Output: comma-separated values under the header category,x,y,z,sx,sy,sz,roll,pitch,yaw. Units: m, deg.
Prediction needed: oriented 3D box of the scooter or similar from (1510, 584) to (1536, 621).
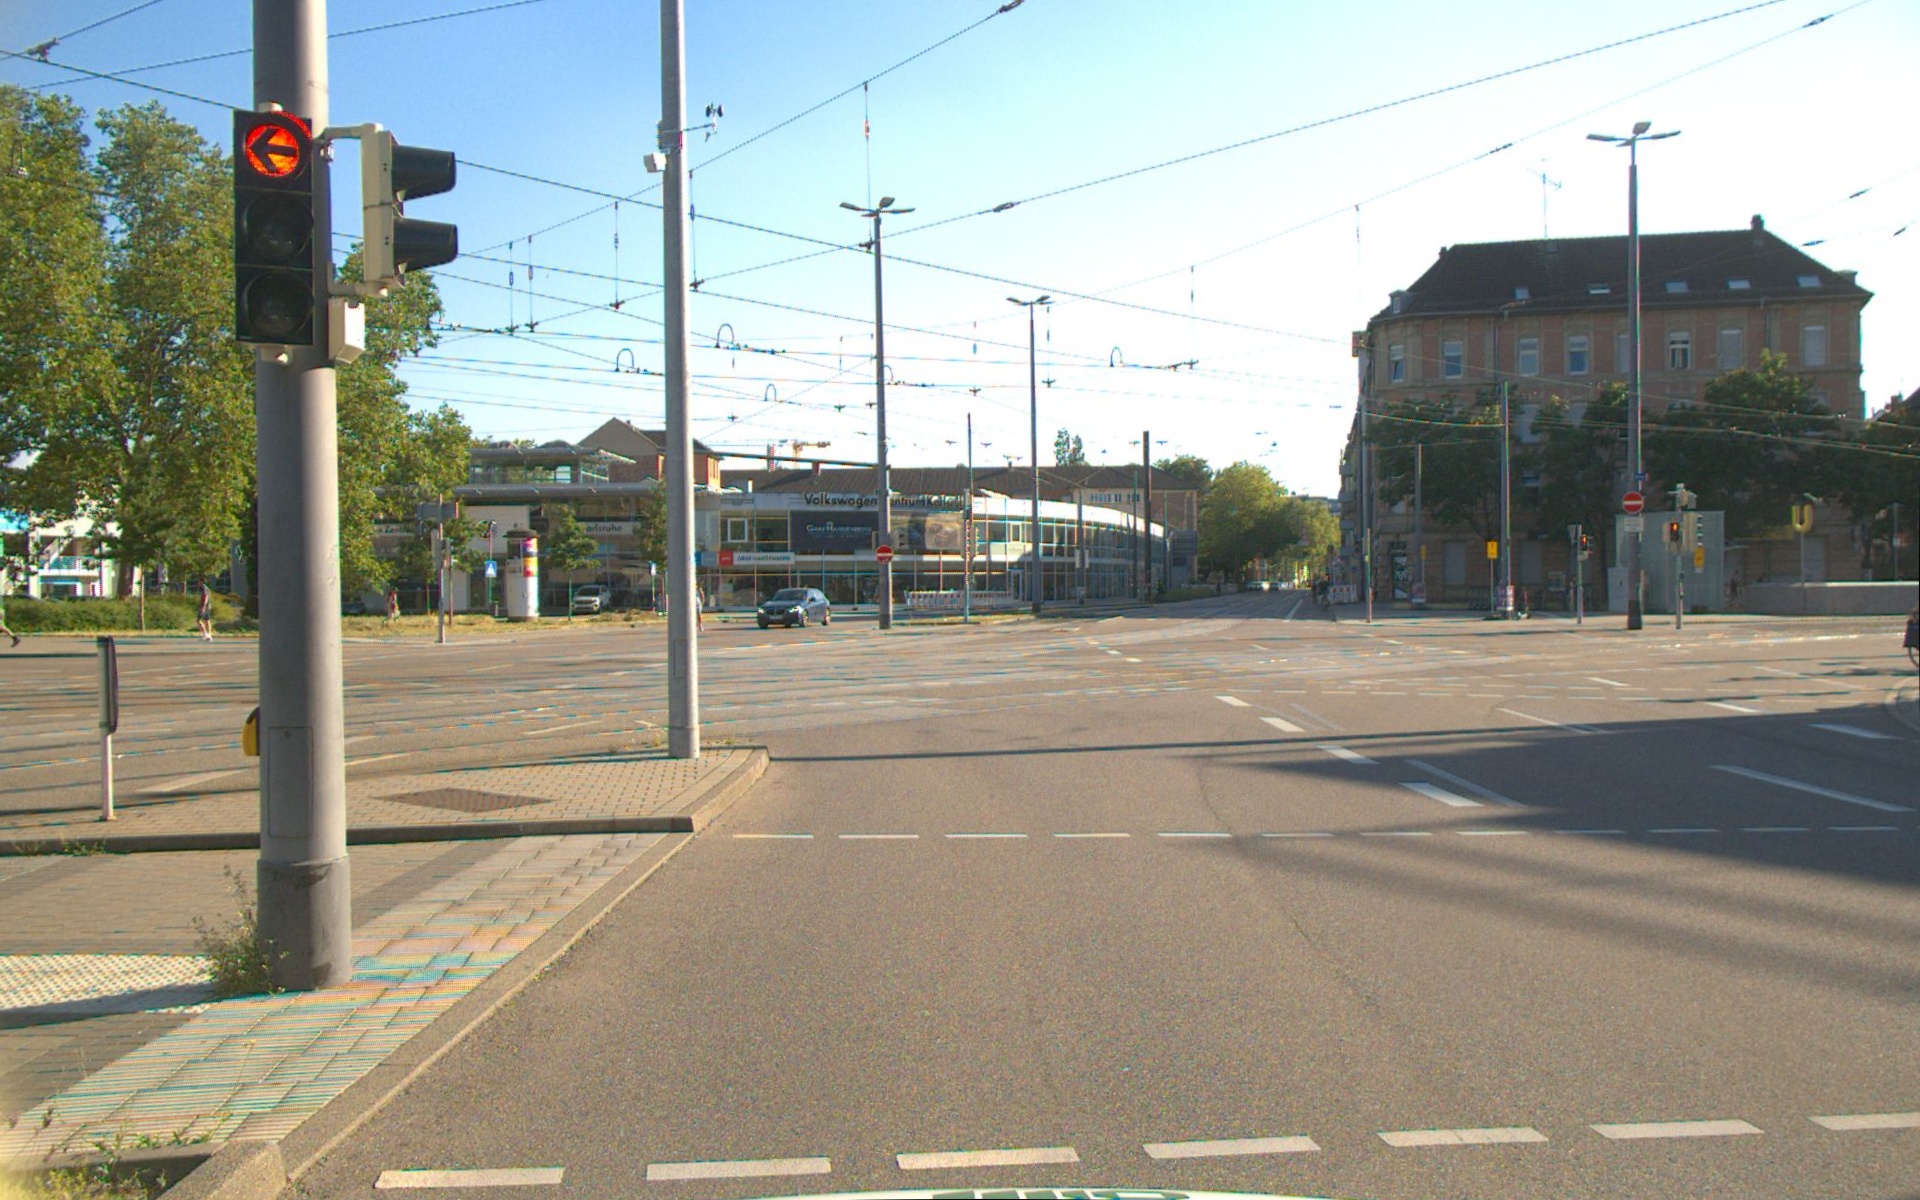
category,x,y,z,sx,sy,sz,roll,pitch,yaw
scooter or similar,21.550,0.100,63.315,0.769,1.400,1.910,1,0,13

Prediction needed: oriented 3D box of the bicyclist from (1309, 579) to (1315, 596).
category,x,y,z,sx,sy,sz,roll,pitch,yaw
bicyclist,23.942,-0.834,112.405,0.399,1.136,0.399,1,-1,11

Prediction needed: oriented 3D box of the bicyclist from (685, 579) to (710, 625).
category,x,y,z,sx,sy,sz,roll,pitch,yaw
bicyclist,-9.465,0.071,59.624,0.585,1.644,0.823,1,-1,16

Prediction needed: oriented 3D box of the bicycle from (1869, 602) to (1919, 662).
category,x,y,z,sx,sy,sz,roll,pitch,yaw
bicycle,17.663,0.595,30.224,0.524,1.067,2.316,1,1,-9

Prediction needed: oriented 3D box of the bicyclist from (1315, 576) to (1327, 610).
category,x,y,z,sx,sy,sz,roll,pitch,yaw
bicyclist,18.954,-0.367,86.812,0.508,1.730,0.516,1,-1,2

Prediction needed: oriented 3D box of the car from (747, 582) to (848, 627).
category,x,y,z,sx,sy,sz,roll,pitch,yaw
car,-6.015,0.168,61.651,1.954,1.613,3.996,1,0,26

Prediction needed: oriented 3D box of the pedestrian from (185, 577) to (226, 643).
category,x,y,z,sx,sy,sz,roll,pitch,yaw
pedestrian,-22.532,0.300,49.397,0.777,1.919,0.759,1,-1,6

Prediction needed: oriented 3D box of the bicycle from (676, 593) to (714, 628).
category,x,y,z,sx,sy,sz,roll,pitch,yaw
bicycle,-9.519,0.379,59.471,0.599,1.210,1.870,1,0,17

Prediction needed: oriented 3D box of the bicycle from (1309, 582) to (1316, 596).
category,x,y,z,sx,sy,sz,roll,pitch,yaw
bicycle,23.990,-0.738,112.599,0.401,0.958,1.847,1,0,12

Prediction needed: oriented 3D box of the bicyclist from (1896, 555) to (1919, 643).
category,x,y,z,sx,sy,sz,roll,pitch,yaw
bicyclist,17.675,-0.013,30.232,0.505,1.584,0.945,1,0,-8

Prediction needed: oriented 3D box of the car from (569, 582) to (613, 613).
category,x,y,z,sx,sy,sz,roll,pitch,yaw
car,-22.059,-0.125,98.985,1.954,1.780,3.997,1,0,-4

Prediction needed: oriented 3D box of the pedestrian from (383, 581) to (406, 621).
category,x,y,z,sx,sy,sz,roll,pitch,yaw
pedestrian,-25.016,0.045,73.210,0.839,1.723,0.496,1,-1,-3

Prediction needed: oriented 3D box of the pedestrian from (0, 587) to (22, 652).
category,x,y,z,sx,sy,sz,roll,pitch,yaw
pedestrian,-26.292,0.526,45.250,0.777,1.736,0.759,1,-1,6

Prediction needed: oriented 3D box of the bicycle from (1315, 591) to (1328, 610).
category,x,y,z,sx,sy,sz,roll,pitch,yaw
bicycle,18.997,0.022,86.911,0.643,0.969,1.601,1,0,14

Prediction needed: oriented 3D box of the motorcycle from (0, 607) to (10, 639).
category,x,y,z,sx,sy,sz,roll,pitch,yaw
motorcycle,-28.927,0.671,48.496,1.748,0.930,0.675,1,0,-21
